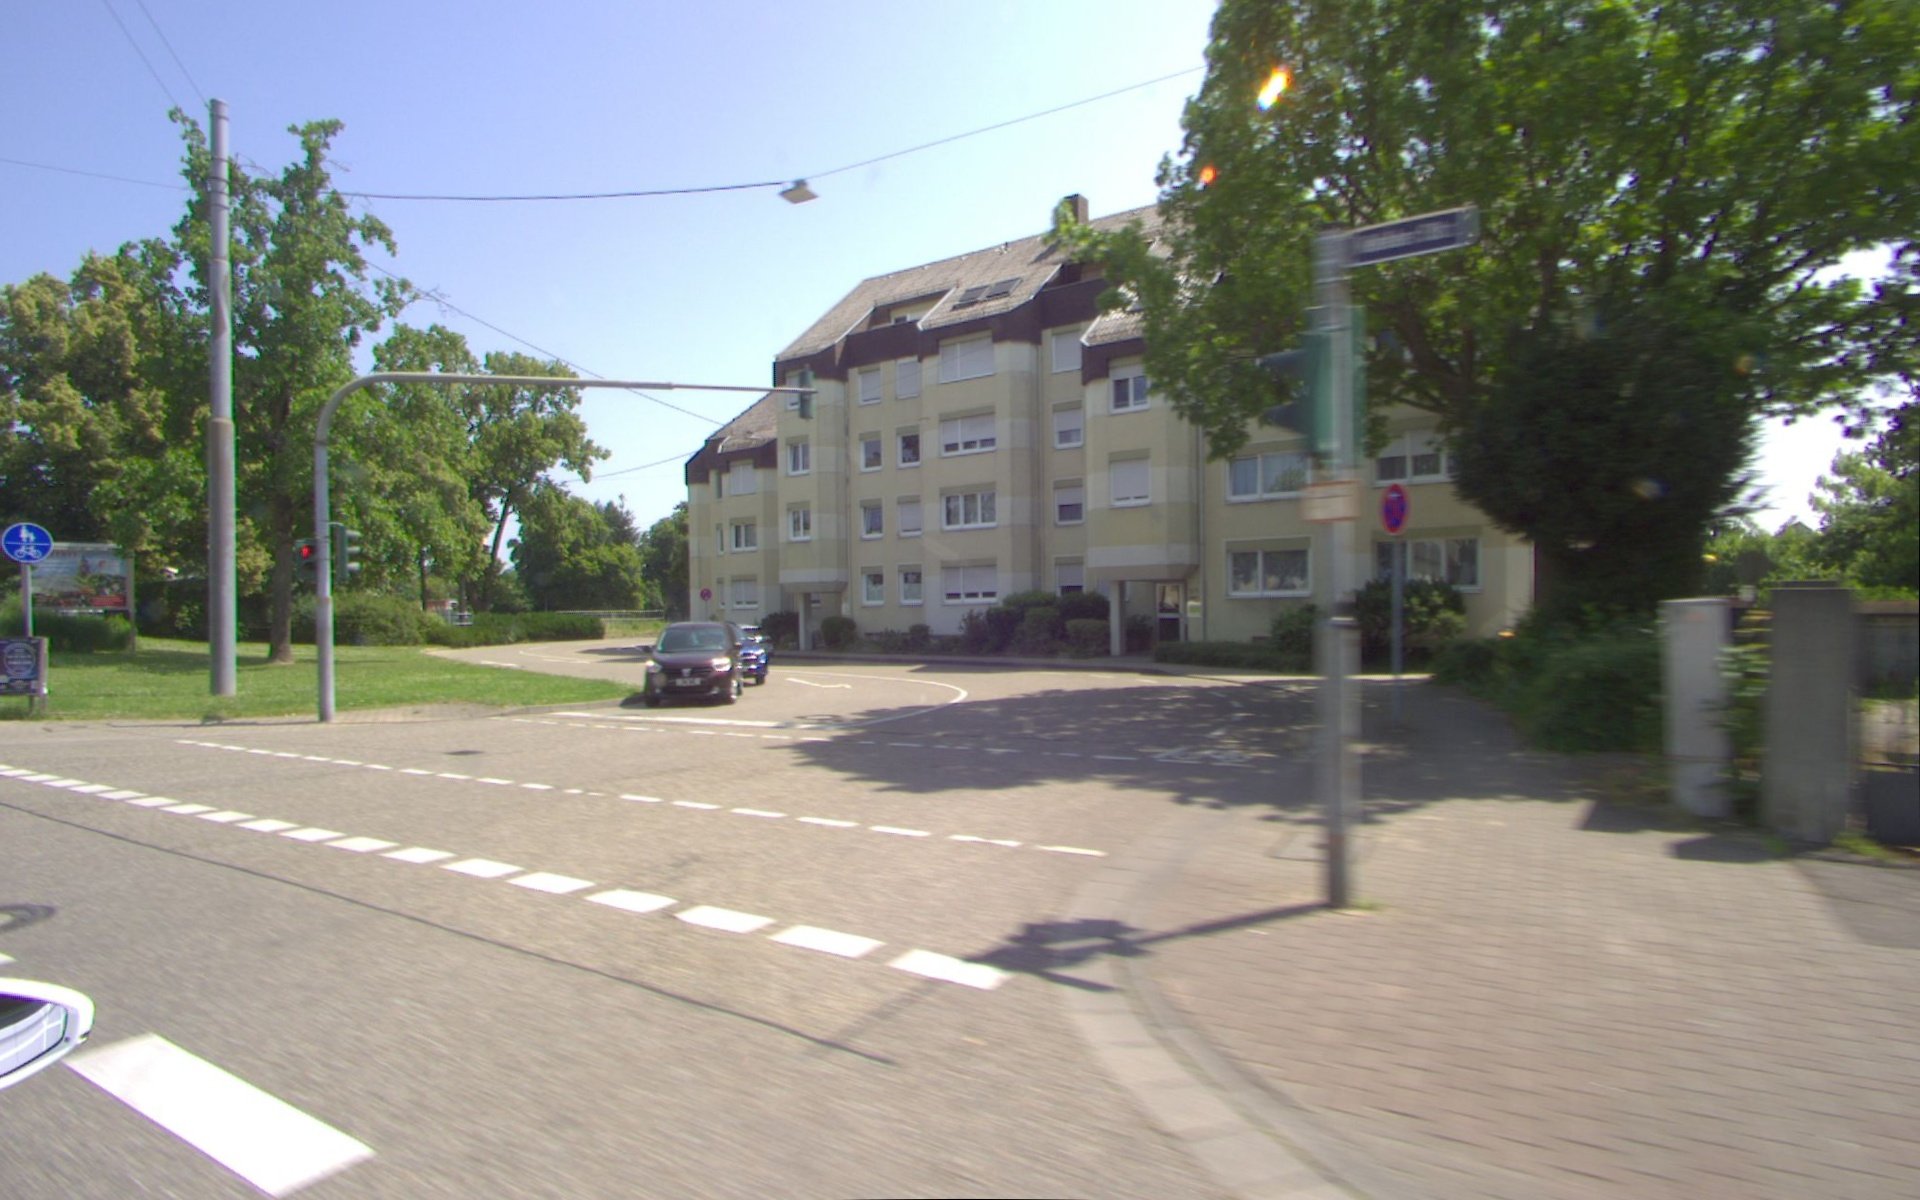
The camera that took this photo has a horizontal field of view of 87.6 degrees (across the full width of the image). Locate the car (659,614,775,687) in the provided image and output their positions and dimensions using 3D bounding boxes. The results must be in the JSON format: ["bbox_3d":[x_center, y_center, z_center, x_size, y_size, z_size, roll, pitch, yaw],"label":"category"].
[{"bbox_3d":[-6.658,1.304,27.046,1.970,1.723,4.749,-1,-1,-27],"label":"car"}]

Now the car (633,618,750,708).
[{"bbox_3d":[-5.501,1.239,21.084,1.881,1.653,4.817,-1,-1,-9],"label":"car"}]

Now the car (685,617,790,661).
[{"bbox_3d":[-8.221,1.400,36.806,1.879,1.519,4.490,1,-2,-41],"label":"car"}]
